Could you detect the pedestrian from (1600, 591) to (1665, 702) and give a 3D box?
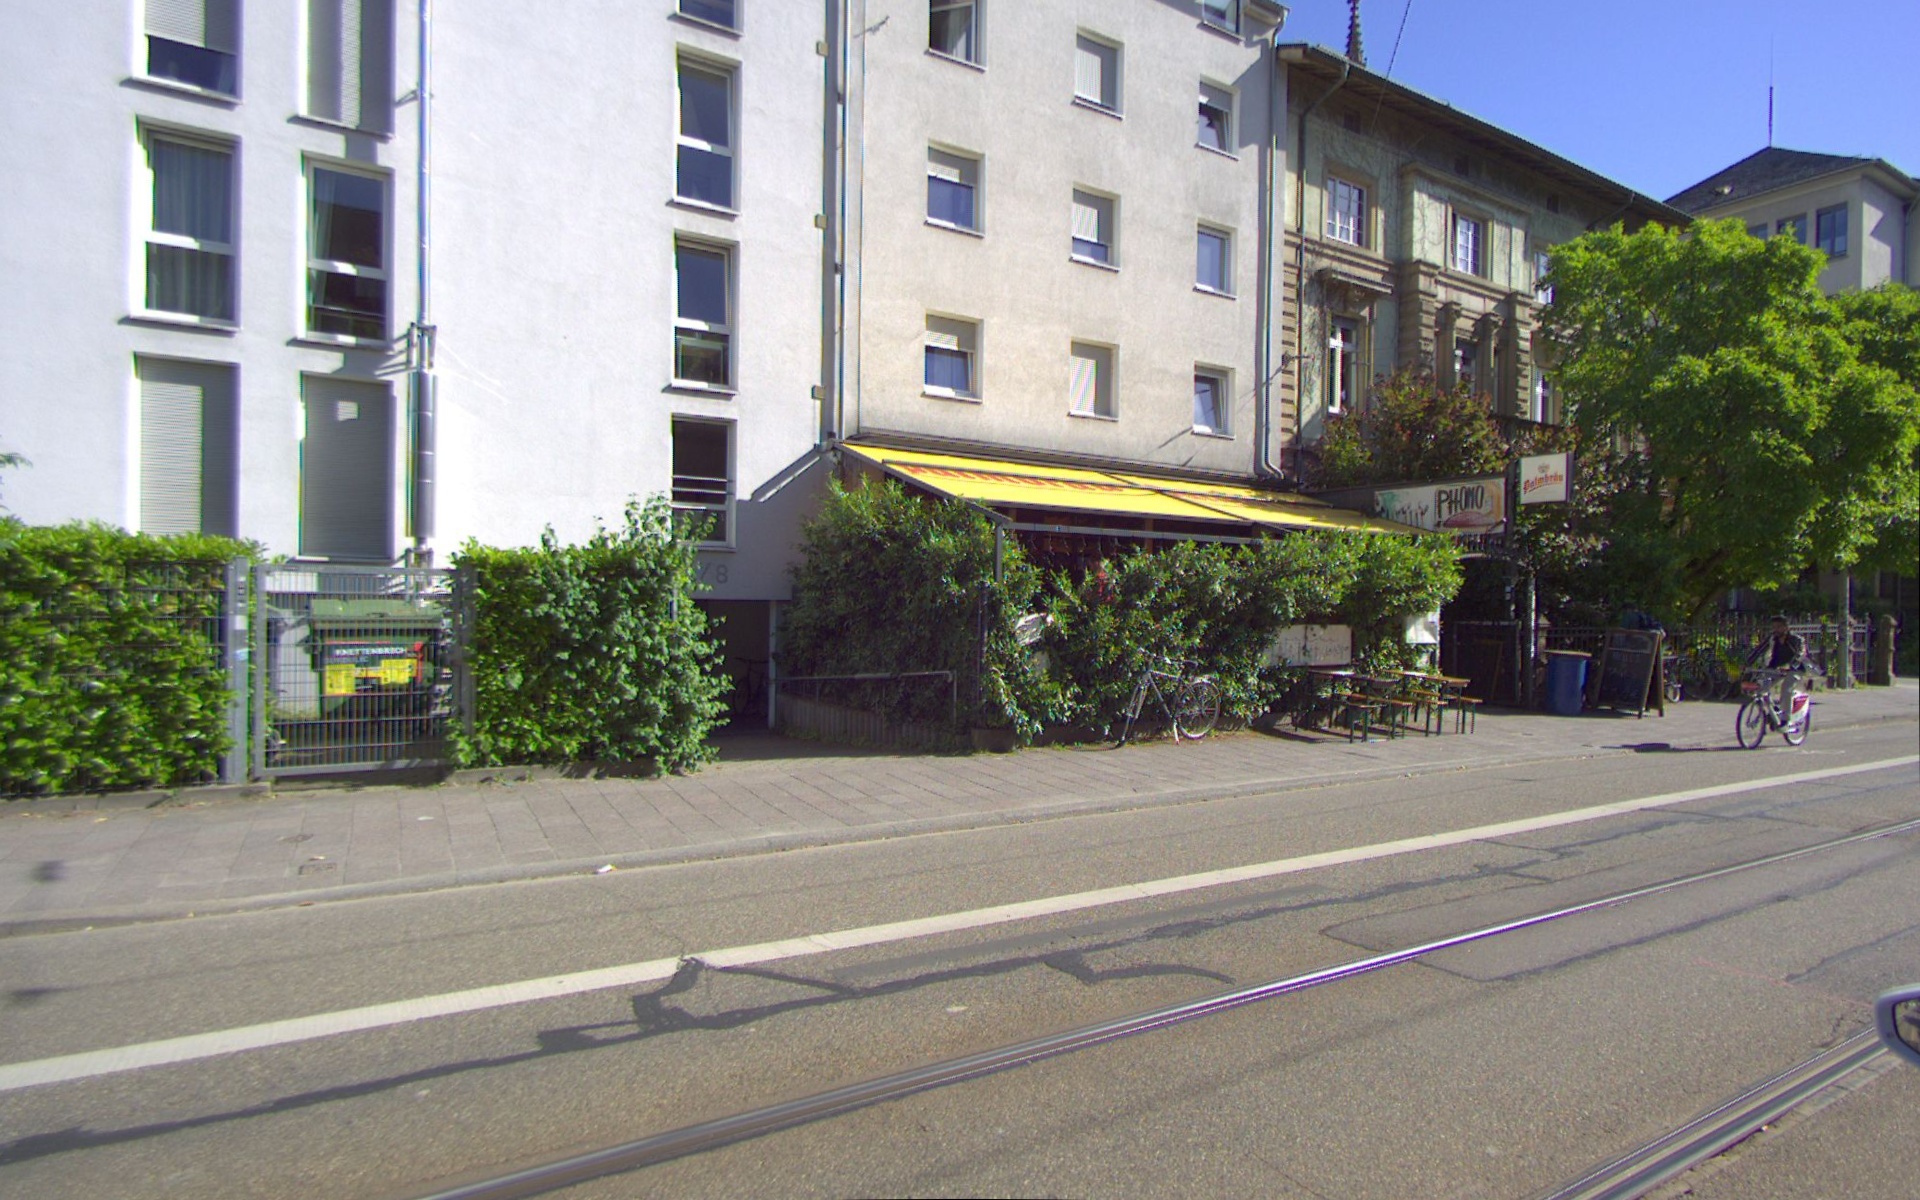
[{"bbox_3d":[11.494,0.791,17.169,0.677,1.856,0.576,1,0,-12],"label":"pedestrian"}]

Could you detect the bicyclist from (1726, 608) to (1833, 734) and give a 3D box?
[{"bbox_3d":[11.056,0.941,13.553,1.104,1.620,0.742,1,-3,-30],"label":"bicyclist"}]

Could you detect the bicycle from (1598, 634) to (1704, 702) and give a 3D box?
[{"bbox_3d":[12.746,1.240,18.529,1.877,1.159,0.644,1,2,-23],"label":"bicycle"}]

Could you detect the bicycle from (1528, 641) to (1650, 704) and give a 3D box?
[{"bbox_3d":[11.297,1.298,18.042,1.988,1.059,0.637,1,0,-14],"label":"bicycle"}]

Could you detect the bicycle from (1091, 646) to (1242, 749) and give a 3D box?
[{"bbox_3d":[2.440,1.112,11.814,1.722,1.073,0.635,1,3,-30],"label":"bicycle"}]

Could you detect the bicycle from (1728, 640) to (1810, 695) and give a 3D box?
[{"bbox_3d":[16.715,1.380,20.742,1.881,1.059,0.587,1,2,-28],"label":"bicycle"}]

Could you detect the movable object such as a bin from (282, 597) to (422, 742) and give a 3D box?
[{"bbox_3d":[-6.587,0.724,10.922,1.244,1.476,0.802,1,-1,-32],"label":"movable object such as a bin"}]

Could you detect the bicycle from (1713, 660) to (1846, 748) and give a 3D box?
[{"bbox_3d":[11.056,1.362,13.539,1.876,1.096,0.742,1,-3,-30],"label":"bicycle"}]

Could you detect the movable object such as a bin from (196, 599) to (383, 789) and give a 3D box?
[{"bbox_3d":[-5.609,0.740,8.484,1.244,1.476,0.802,1,-1,-32],"label":"movable object such as a bin"}]

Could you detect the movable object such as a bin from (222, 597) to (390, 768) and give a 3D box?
[{"bbox_3d":[-6.045,0.722,9.342,1.244,1.476,0.802,1,-1,-32],"label":"movable object such as a bin"}]

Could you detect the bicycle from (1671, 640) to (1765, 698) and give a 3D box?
[{"bbox_3d":[14.914,1.343,19.760,1.877,1.059,0.588,1,1,-23],"label":"bicycle"}]
